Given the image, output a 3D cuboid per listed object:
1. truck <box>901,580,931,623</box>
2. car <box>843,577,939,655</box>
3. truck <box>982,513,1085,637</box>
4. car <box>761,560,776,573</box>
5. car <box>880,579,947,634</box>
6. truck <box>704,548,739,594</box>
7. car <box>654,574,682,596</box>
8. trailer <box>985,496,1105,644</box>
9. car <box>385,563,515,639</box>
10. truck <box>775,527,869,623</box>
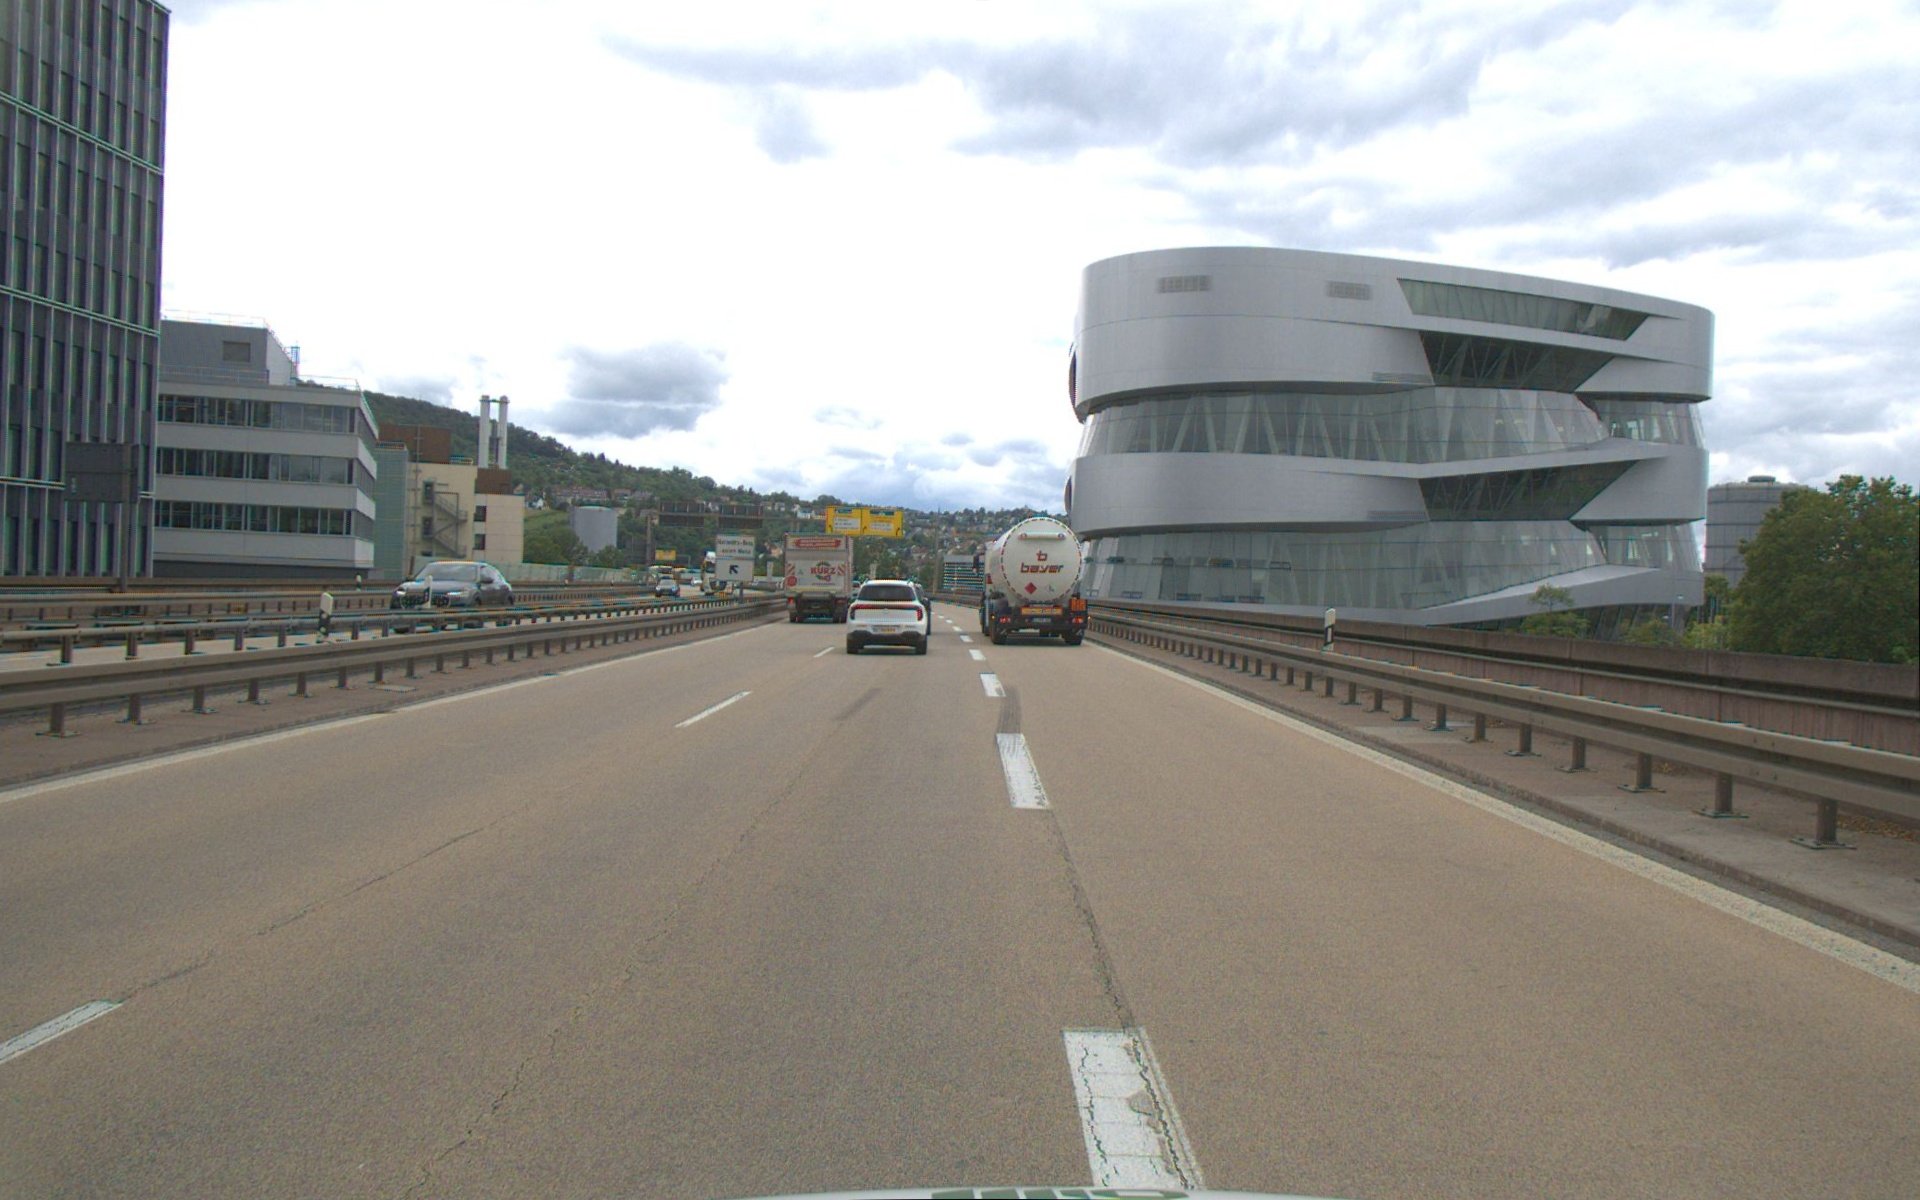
[{"bbox_3d":[-4.958,0.206,184.662,2.996,4.642,8.297,1,0,-4],"label":"truck"},{"bbox_3d":[-1.569,0.366,39.059,1.952,1.704,4.409,1,0,2],"label":"car"},{"bbox_3d":[2.256,-0.742,53.188,2.953,3.721,6.272,1,0,0],"label":"truck"},{"bbox_3d":[-25.932,-4.521,224.370,1.955,1.634,4.800,1,0,-6],"label":"car"},{"bbox_3d":[-1.479,0.219,54.636,1.952,1.704,4.409,1,0,2],"label":"car"},{"bbox_3d":[-22.156,-2.662,154.058,2.717,4.151,5.642,1,0,-4],"label":"truck"},{"bbox_3d":[-23.617,-1.235,133.854,1.649,1.679,4.356,2,0,-3],"label":"car"},{"bbox_3d":[2.296,-0.783,47.817,2.994,3.856,8.303,1,0,0],"label":"trailer"},{"bbox_3d":[-12.414,0.027,40.529,1.726,1.679,4.335,3,0,1],"label":"car"},{"bbox_3d":[-5.680,-0.981,69.525,2.993,3.755,8.305,1,0,2],"label":"truck"}]
